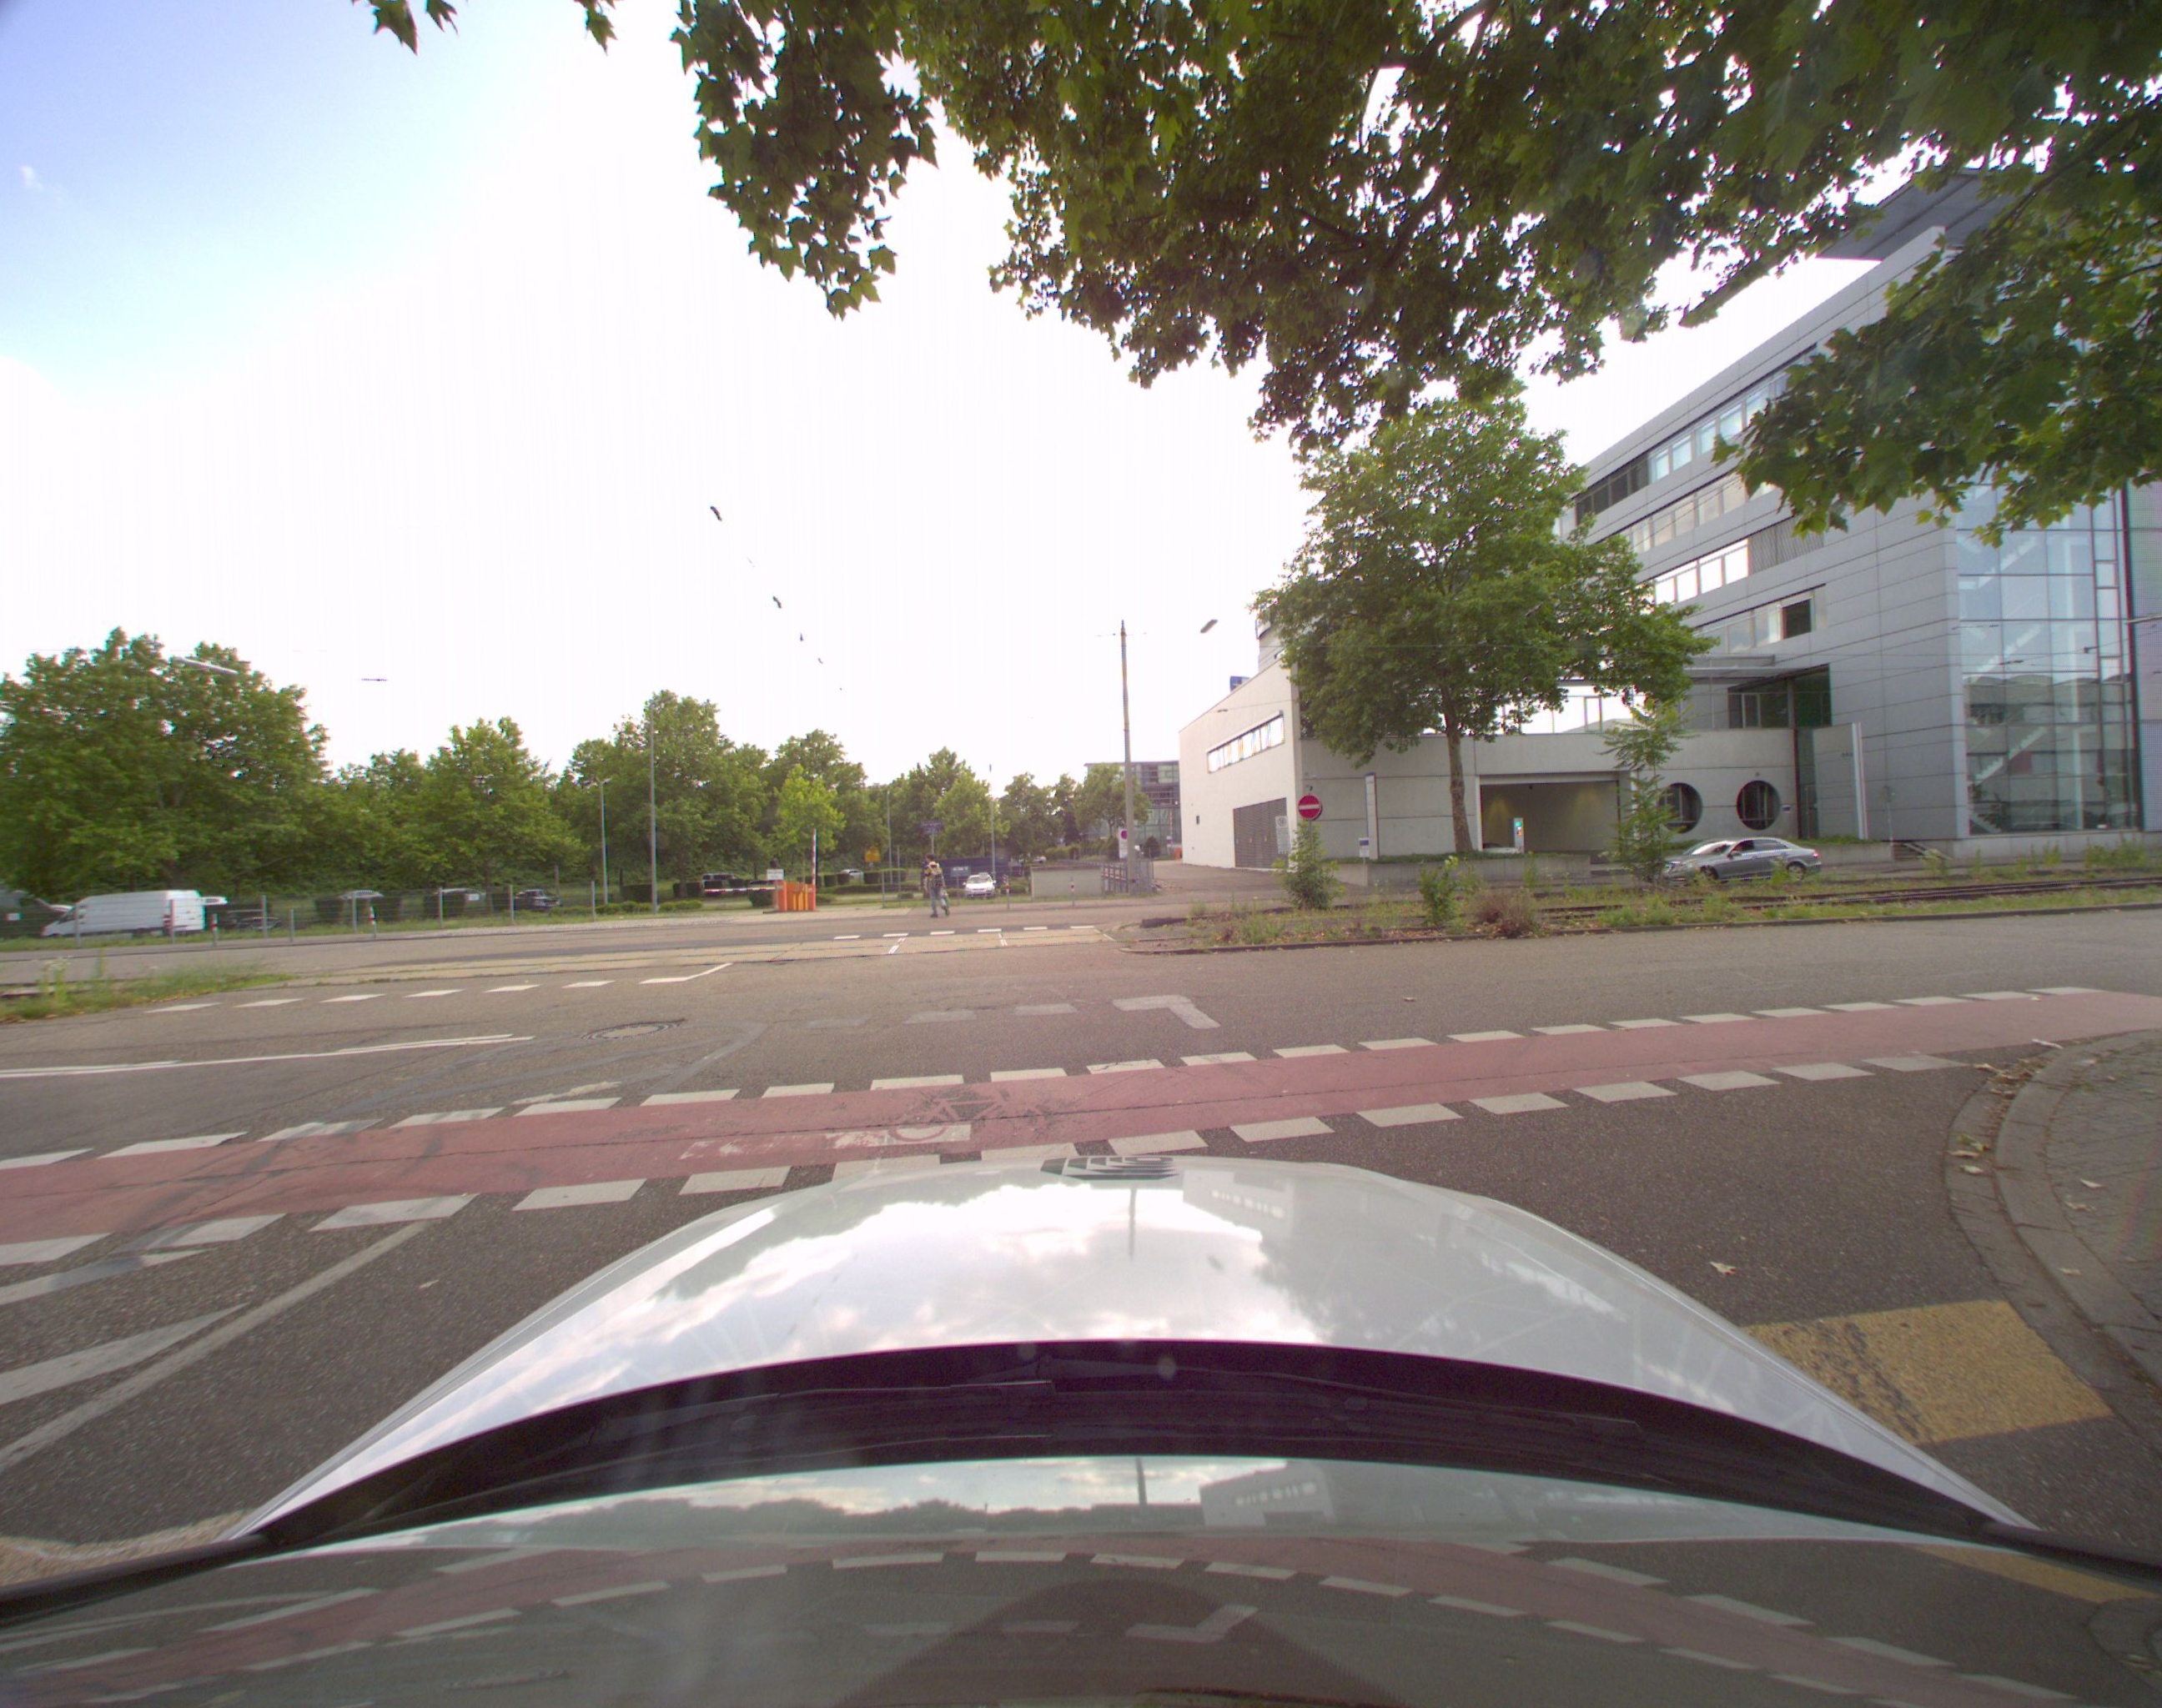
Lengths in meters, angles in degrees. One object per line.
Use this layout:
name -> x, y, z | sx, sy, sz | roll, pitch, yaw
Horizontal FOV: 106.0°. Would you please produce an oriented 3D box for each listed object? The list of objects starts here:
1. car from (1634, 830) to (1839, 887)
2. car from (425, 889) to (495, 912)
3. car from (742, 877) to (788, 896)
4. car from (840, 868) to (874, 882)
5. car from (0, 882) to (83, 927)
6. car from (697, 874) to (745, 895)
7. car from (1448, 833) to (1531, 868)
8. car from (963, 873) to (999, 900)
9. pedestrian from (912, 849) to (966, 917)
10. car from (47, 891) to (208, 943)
car -> 19.572, 0.123, 24.417 | 4.947, 1.431, 1.769 | -3, -1, -6
car -> -53.021, 3.934, 69.614 | 1.975, 1.684, 4.287 | -2, 0, 26
car -> -30.145, 3.118, 77.684 | 3.950, 1.701, 1.921 | -2, 0, 26
car -> -30.559, 2.894, 111.253 | 1.896, 1.721, 4.326 | -2, 0, 27
car -> -63.109, 3.007, 47.413 | 2.183, 2.442, 5.946 | -2, 0, 28
car -> -39.426, 3.310, 89.225 | 1.838, 2.135, 4.596 | -2, 0, 26
car -> 20.175, -0.142, 40.433 | 1.824, 1.578, 4.041 | -2, 0, -5
car -> -5.903, 1.886, 48.494 | 1.928, 1.403, 4.074 | -2, 0, -4
pedestrian -> -4.016, 0.807, 22.978 | 1.008, 1.849, 1.215 | -2, -1, -37
car -> -48.048, 3.124, 41.142 | 5.285, 2.211, 1.792 | -2, -1, -9
